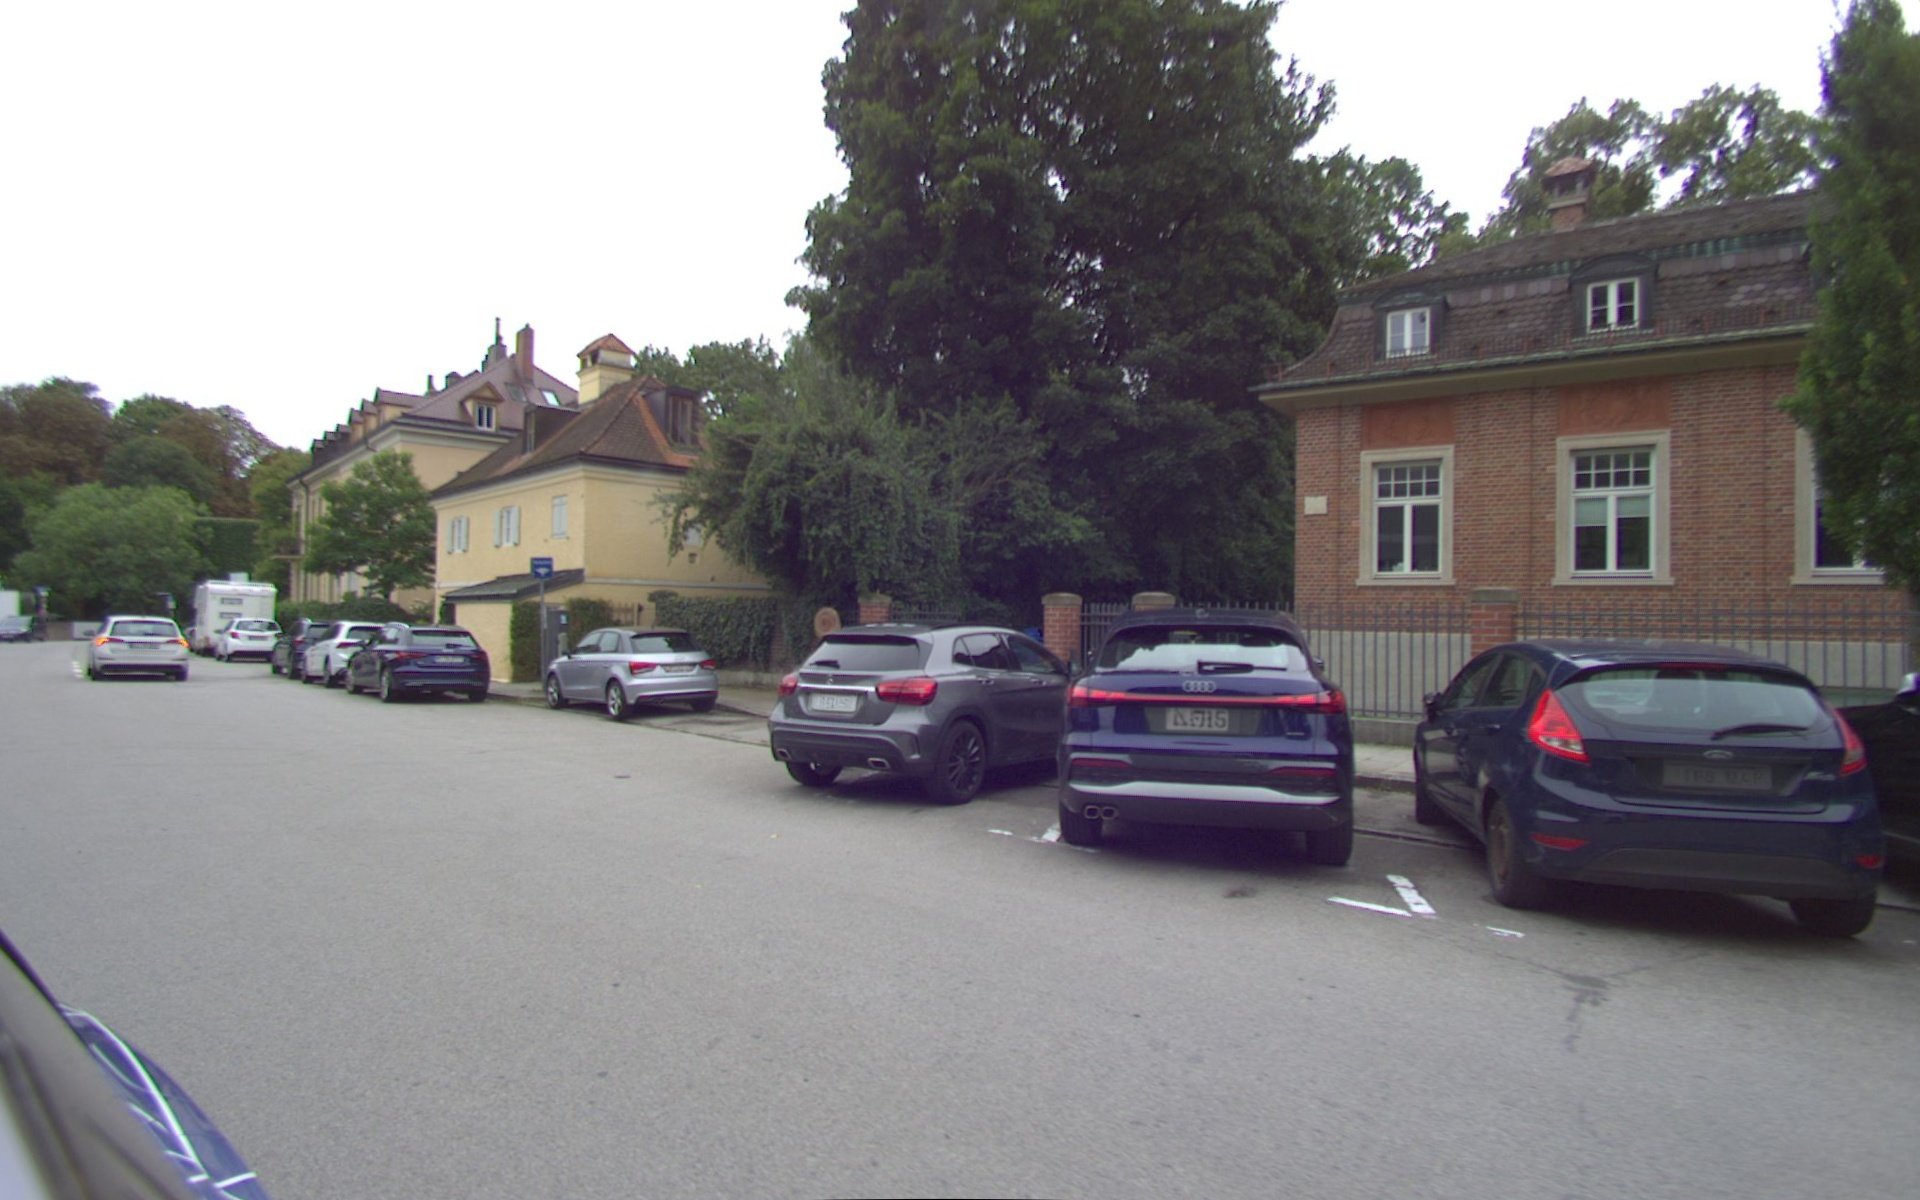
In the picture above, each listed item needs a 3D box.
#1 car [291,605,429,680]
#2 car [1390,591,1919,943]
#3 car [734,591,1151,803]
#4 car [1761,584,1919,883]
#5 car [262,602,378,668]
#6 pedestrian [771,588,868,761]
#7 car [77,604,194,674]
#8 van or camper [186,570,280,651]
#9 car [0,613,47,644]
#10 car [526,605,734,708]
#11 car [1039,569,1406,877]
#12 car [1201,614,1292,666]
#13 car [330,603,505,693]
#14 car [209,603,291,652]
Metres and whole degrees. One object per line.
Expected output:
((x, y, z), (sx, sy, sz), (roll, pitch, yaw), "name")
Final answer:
((-13.932, 0.950, 23.380), (1.822, 1.546, 4.527), (5, -4, -42), "car")
((4.200, 0.825, 6.746), (1.817, 1.498, 4.400), (2, -2, 15), "car")
((0.087, 0.770, 9.867), (1.929, 1.541, 4.294), (2, -1, 34), "car")
((6.067, 0.741, 4.692), (1.948, 1.637, 4.506), (2, -2, 14), "car")
((-17.131, 0.897, 26.996), (1.822, 1.546, 4.447), (5, -3, -42), "car")
((-1.414, 0.729, 10.206), (0.714, 1.660, 0.583), (0, -3, 42), "pedestrian")
((-19.293, 0.858, 23.610), (1.751, 1.486, 4.137), (2, -1, -44), "car")
((-29.894, 0.461, 41.487), (2.424, 2.963, 7.223), (4, -3, -40), "van or camper")
((-55.555, 1.678, 59.451), (1.966, 1.706, 4.347), (0, -2, -30), "car")
((-5.722, 0.910, 17.267), (1.720, 1.546, 4.153), (5, -4, -43), "car")
((1.958, 0.741, 7.827), (1.946, 1.606, 4.506), (1, -2, 14), "car")
((9.741, 1.312, 34.245), (1.993, 1.630, 3.957), (0, -1, 31), "car")
((-10.653, 0.897, 19.706), (1.823, 1.546, 4.566), (5, -4, -43), "car")
((-24.788, 0.947, 35.267), (1.757, 1.546, 4.233), (5, -4, -42), "car")
